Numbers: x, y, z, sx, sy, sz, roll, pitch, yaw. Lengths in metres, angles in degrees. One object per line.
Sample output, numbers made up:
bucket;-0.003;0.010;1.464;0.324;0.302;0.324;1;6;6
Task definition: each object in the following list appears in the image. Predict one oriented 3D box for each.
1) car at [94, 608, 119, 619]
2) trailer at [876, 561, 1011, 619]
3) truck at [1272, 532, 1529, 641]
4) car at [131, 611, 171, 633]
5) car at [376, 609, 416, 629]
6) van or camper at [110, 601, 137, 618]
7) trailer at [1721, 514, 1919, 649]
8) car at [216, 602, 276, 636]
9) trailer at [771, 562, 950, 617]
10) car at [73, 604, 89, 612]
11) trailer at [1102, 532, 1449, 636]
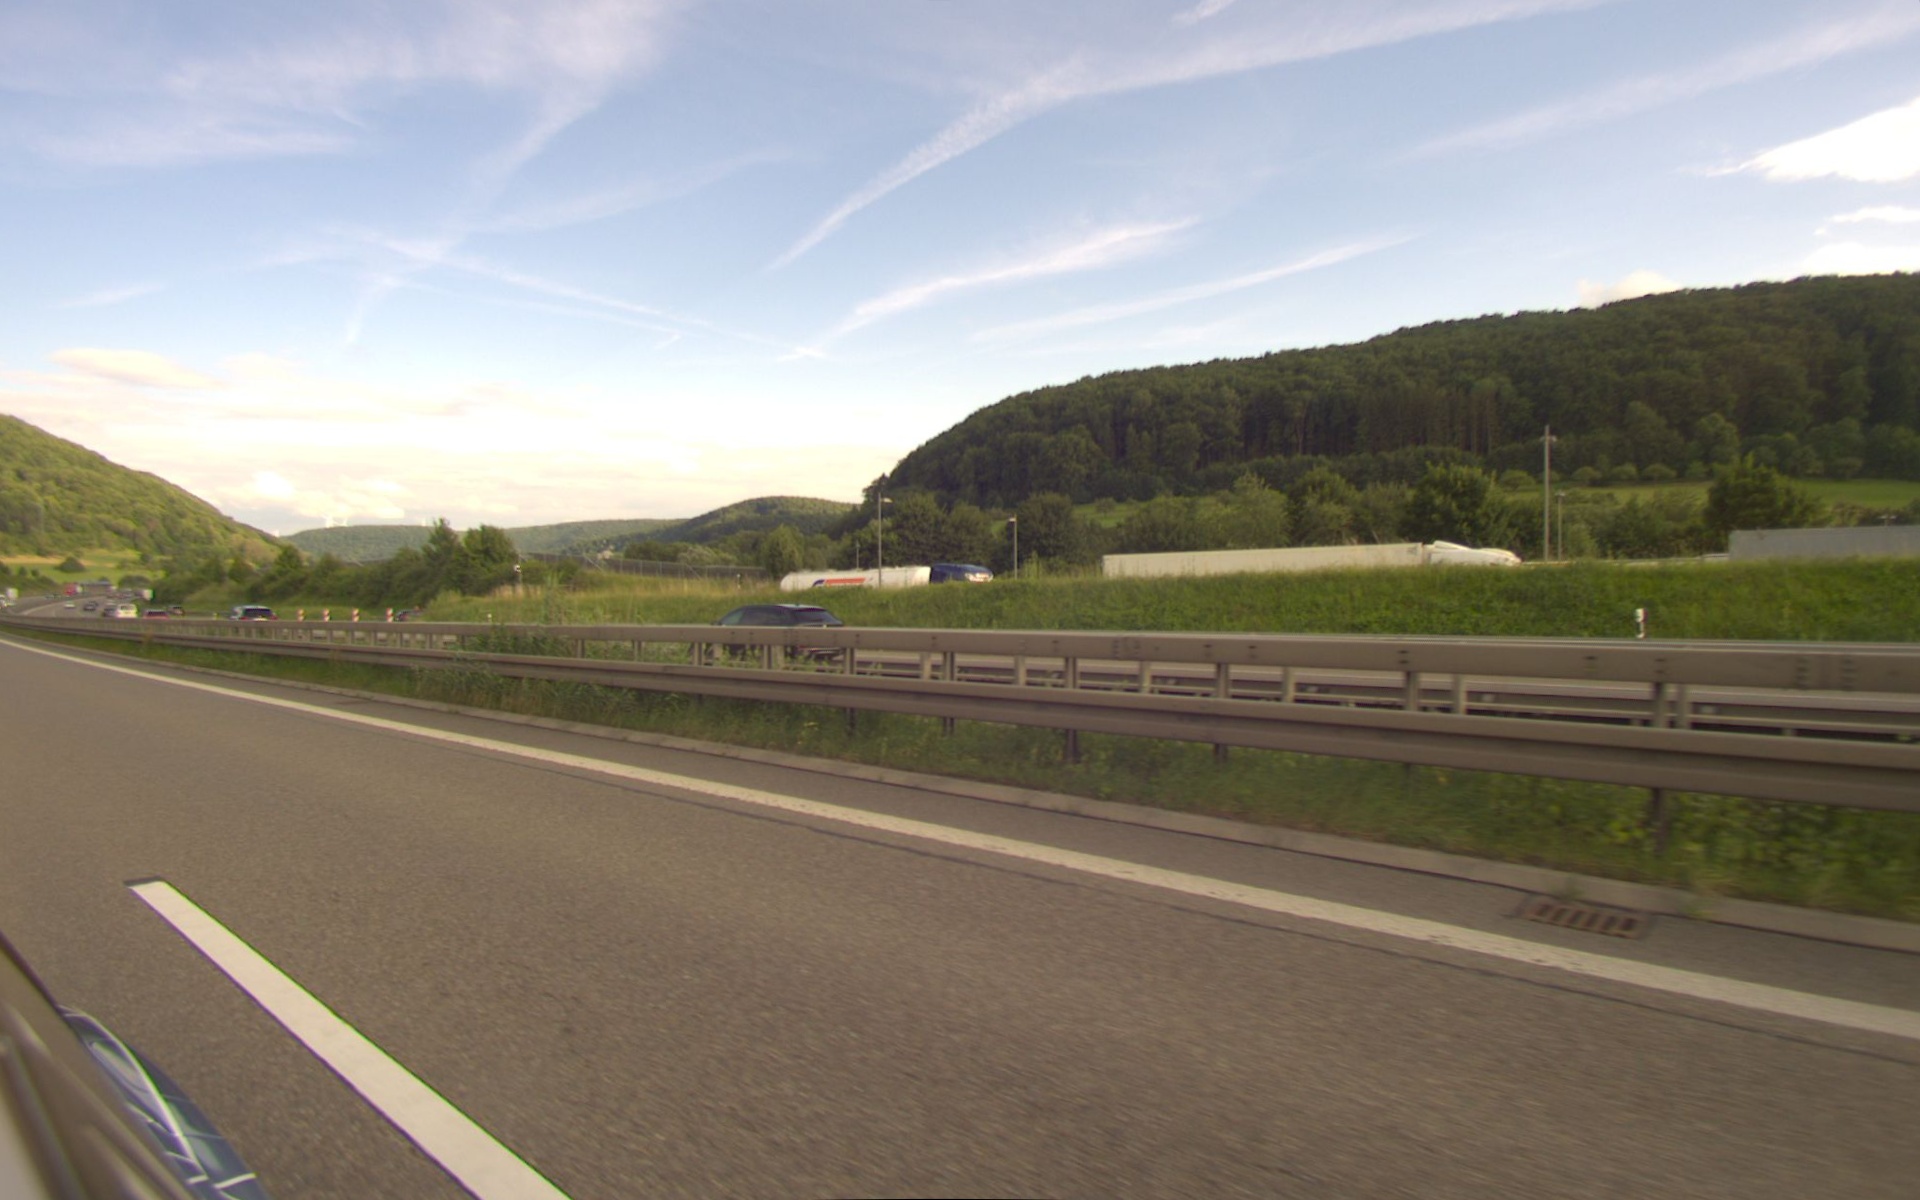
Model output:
car;-118.481;1.867;140.471;4.689;1.508;1.973;-1;0;41
trailer;-0.979;-0.566;53.343;7.302;2.875;2.585;1;1;41
truck;16.504;-0.437;38.414;8.487;3.718;2.852;-1;0;40
car;-61.111;1.655;76.440;4.217;1.541;1.820;-1;-2;45
car;-44.355;1.471;79.683;1.965;1.563;4.634;0;-1;-19
van or camper;-98.706;1.134;119.365;4.755;1.888;1.894;0;-1;43
trailer;29.219;-0.445;27.387;13.668;3.724;2.847;0;-1;41
car;-38.597;0.989;54.674;4.341;1.626;1.787;1;1;42
trailer;-5.964;-0.672;57.778;12.258;2.875;2.552;1;1;41
car;-173.013;1.640;199.203;4.497;1.508;1.776;-1;0;41
trailer;12.475;-0.530;41.835;13.665;3.724;2.848;-1;0;40
